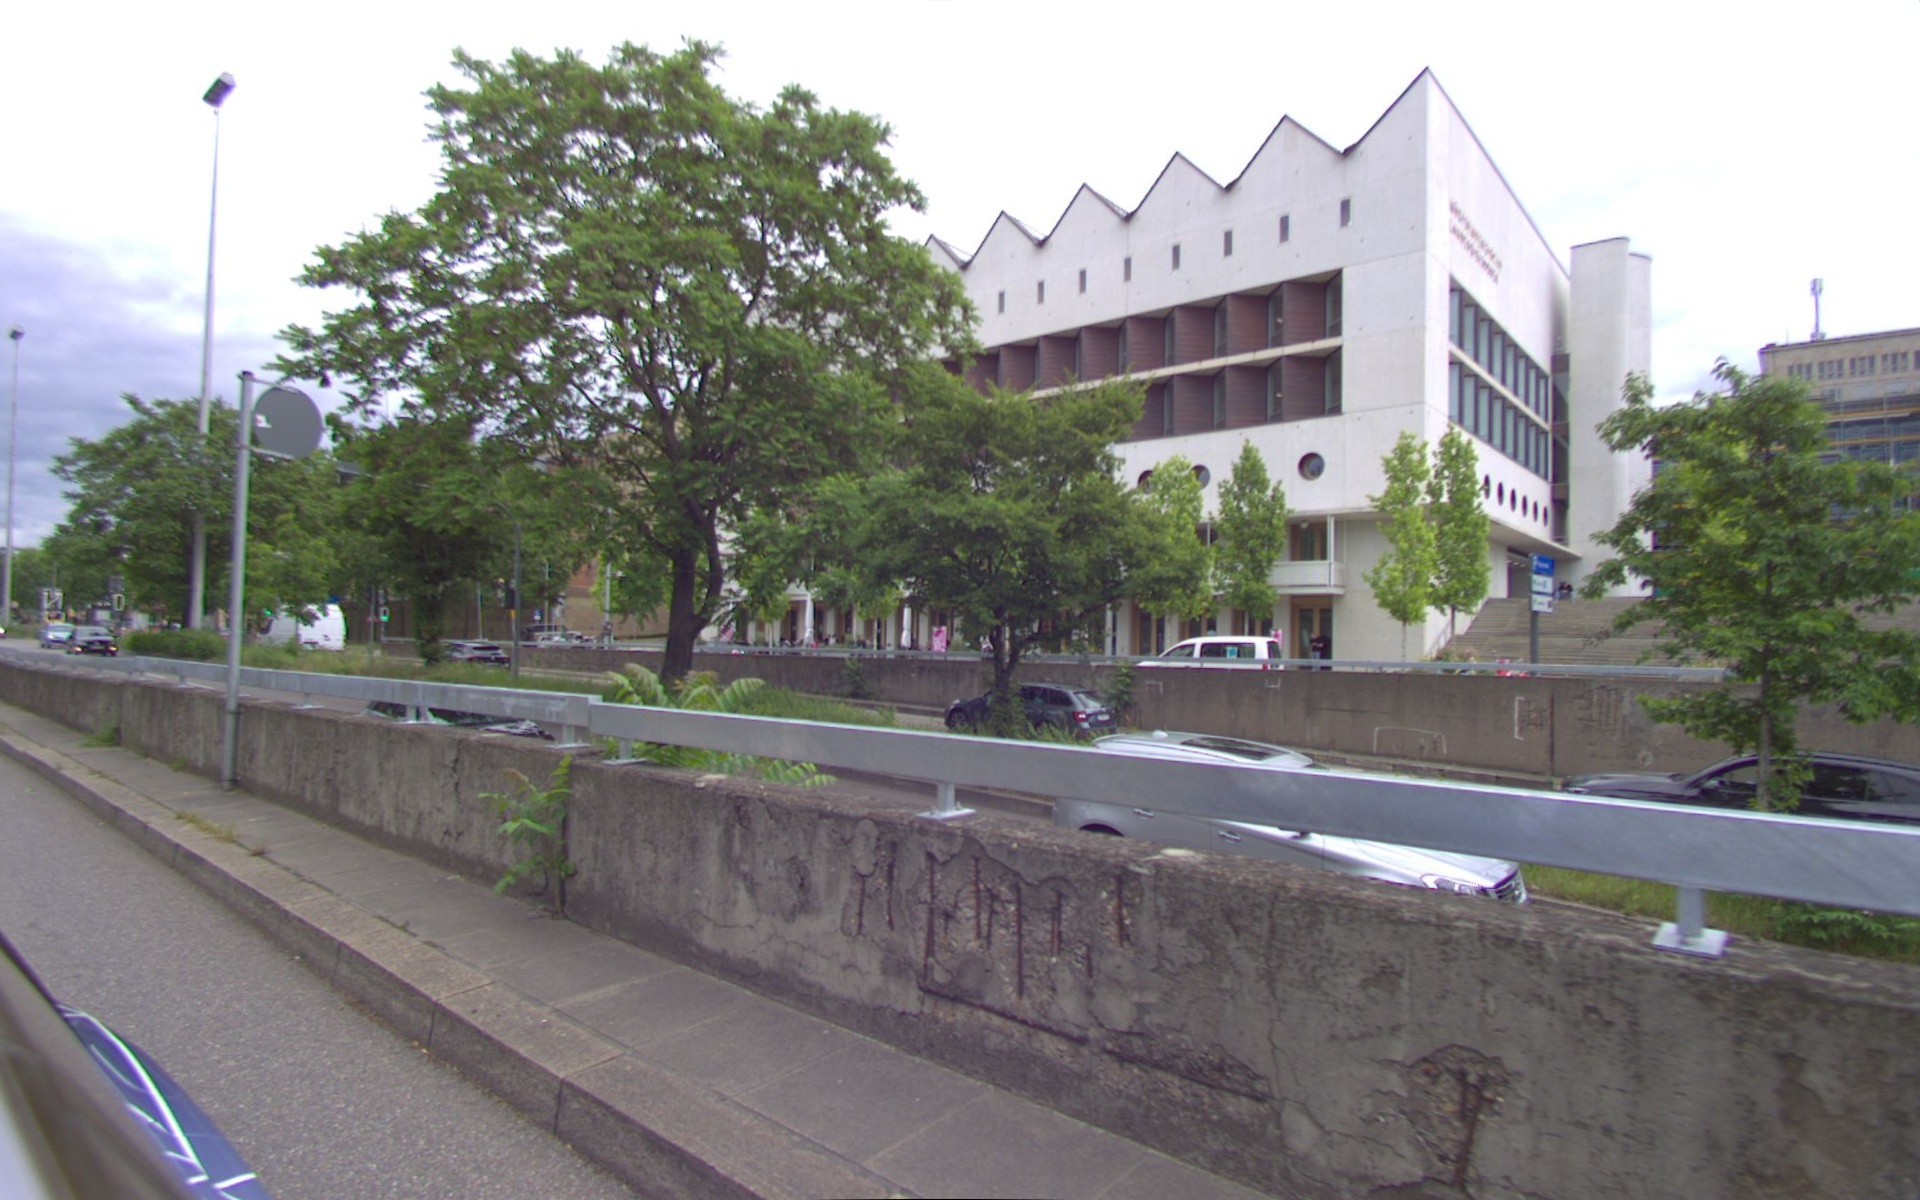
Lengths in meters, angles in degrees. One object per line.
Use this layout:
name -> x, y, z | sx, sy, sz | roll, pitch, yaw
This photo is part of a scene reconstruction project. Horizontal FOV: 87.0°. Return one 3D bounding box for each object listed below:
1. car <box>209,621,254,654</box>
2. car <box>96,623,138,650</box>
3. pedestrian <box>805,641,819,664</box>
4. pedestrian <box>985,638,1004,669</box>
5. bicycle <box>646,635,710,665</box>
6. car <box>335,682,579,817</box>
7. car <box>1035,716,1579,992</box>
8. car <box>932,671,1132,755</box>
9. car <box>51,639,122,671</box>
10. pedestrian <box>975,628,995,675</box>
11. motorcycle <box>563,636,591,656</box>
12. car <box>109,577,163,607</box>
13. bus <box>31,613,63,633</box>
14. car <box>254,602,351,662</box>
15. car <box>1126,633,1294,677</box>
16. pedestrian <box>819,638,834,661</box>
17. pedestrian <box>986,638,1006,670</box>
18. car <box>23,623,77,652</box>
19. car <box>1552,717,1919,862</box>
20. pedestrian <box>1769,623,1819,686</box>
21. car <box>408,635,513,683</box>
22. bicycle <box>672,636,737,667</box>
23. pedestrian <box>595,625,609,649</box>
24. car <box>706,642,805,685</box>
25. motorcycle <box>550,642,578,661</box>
car -> -49.168, 2.482, 68.245 | 1.970, 2.029, 4.004 | 0, 0, -43
car -> -68.772, 2.968, 82.564 | 4.444, 1.729, 1.838 | 7, 3, 40
pedestrian -> -9.034, 3.193, 61.757 | 0.640, 1.337, 0.636 | 6, -7, -21
pedestrian -> 1.773, 2.733, 51.566 | 0.899, 1.535, 0.634 | -2, -3, 0
bicycle -> -16.552, 2.938, 59.525 | 1.182, 1.697, 3.576 | -2, -4, 40
car -> -7.804, 2.162, 15.550 | 4.147, 1.527, 1.746 | 0, -1, 38
car -> 3.229, 2.205, 10.063 | 4.737, 1.629, 1.972 | 0, -2, 42
car -> 1.664, 2.632, 24.396 | 4.573, 1.550, 1.861 | 0, 0, 38
car -> -43.491, 2.705, 50.355 | 4.806, 1.494, 1.973 | -1, -3, 41
pedestrian -> 1.124, 2.279, 45.115 | 0.630, 2.029, 0.626 | 0, 0, 42
motorcycle -> -25.048, 3.006, 66.235 | 0.653, 1.243, 1.879 | 2, -2, 17
car -> -52.817, -0.479, 64.847 | 4.442, 1.730, 1.838 | -1, -4, 40
bus -> -159.356, 4.056, 176.614 | 10.444, 3.330, 2.882 | -1, -3, 41
car -> -31.505, 1.446, 48.424 | 6.055, 2.543, 2.300 | 1, 1, 41
car -> 7.686, 1.665, 31.464 | 4.805, 1.127, 1.790 | 0, 0, 41
pedestrian -> -8.083, 3.004, 61.264 | 0.777, 1.337, 0.672 | 1, -2, -21
pedestrian -> 1.821, 2.699, 50.783 | 0.899, 1.535, 0.634 | -3, -4, -1
car -> -54.877, 2.230, 60.993 | 3.998, 1.658, 1.973 | -1, -2, 41
car -> 10.330, 2.311, 12.641 | 4.845, 1.151, 1.974 | 0, 0, 39
pedestrian -> 22.418, 1.448, 27.209 | 1.004, 1.653, 0.727 | -1, -3, 41
car -> -18.213, 2.109, 36.844 | 3.994, 1.498, 1.883 | 0, 0, 38
bicycle -> -14.655, 2.962, 58.241 | 1.182, 1.697, 3.576 | -2, -4, 40
pedestrian -> -23.532, 2.451, 66.455 | 0.590, 1.569, 0.883 | 1, -2, -1
car -> -8.867, 2.711, 43.705 | 4.388, 1.730, 1.838 | -1, -4, 40
motorcycle -> -26.268, 3.396, 67.084 | 0.653, 1.243, 1.879 | 2, -2, 17
